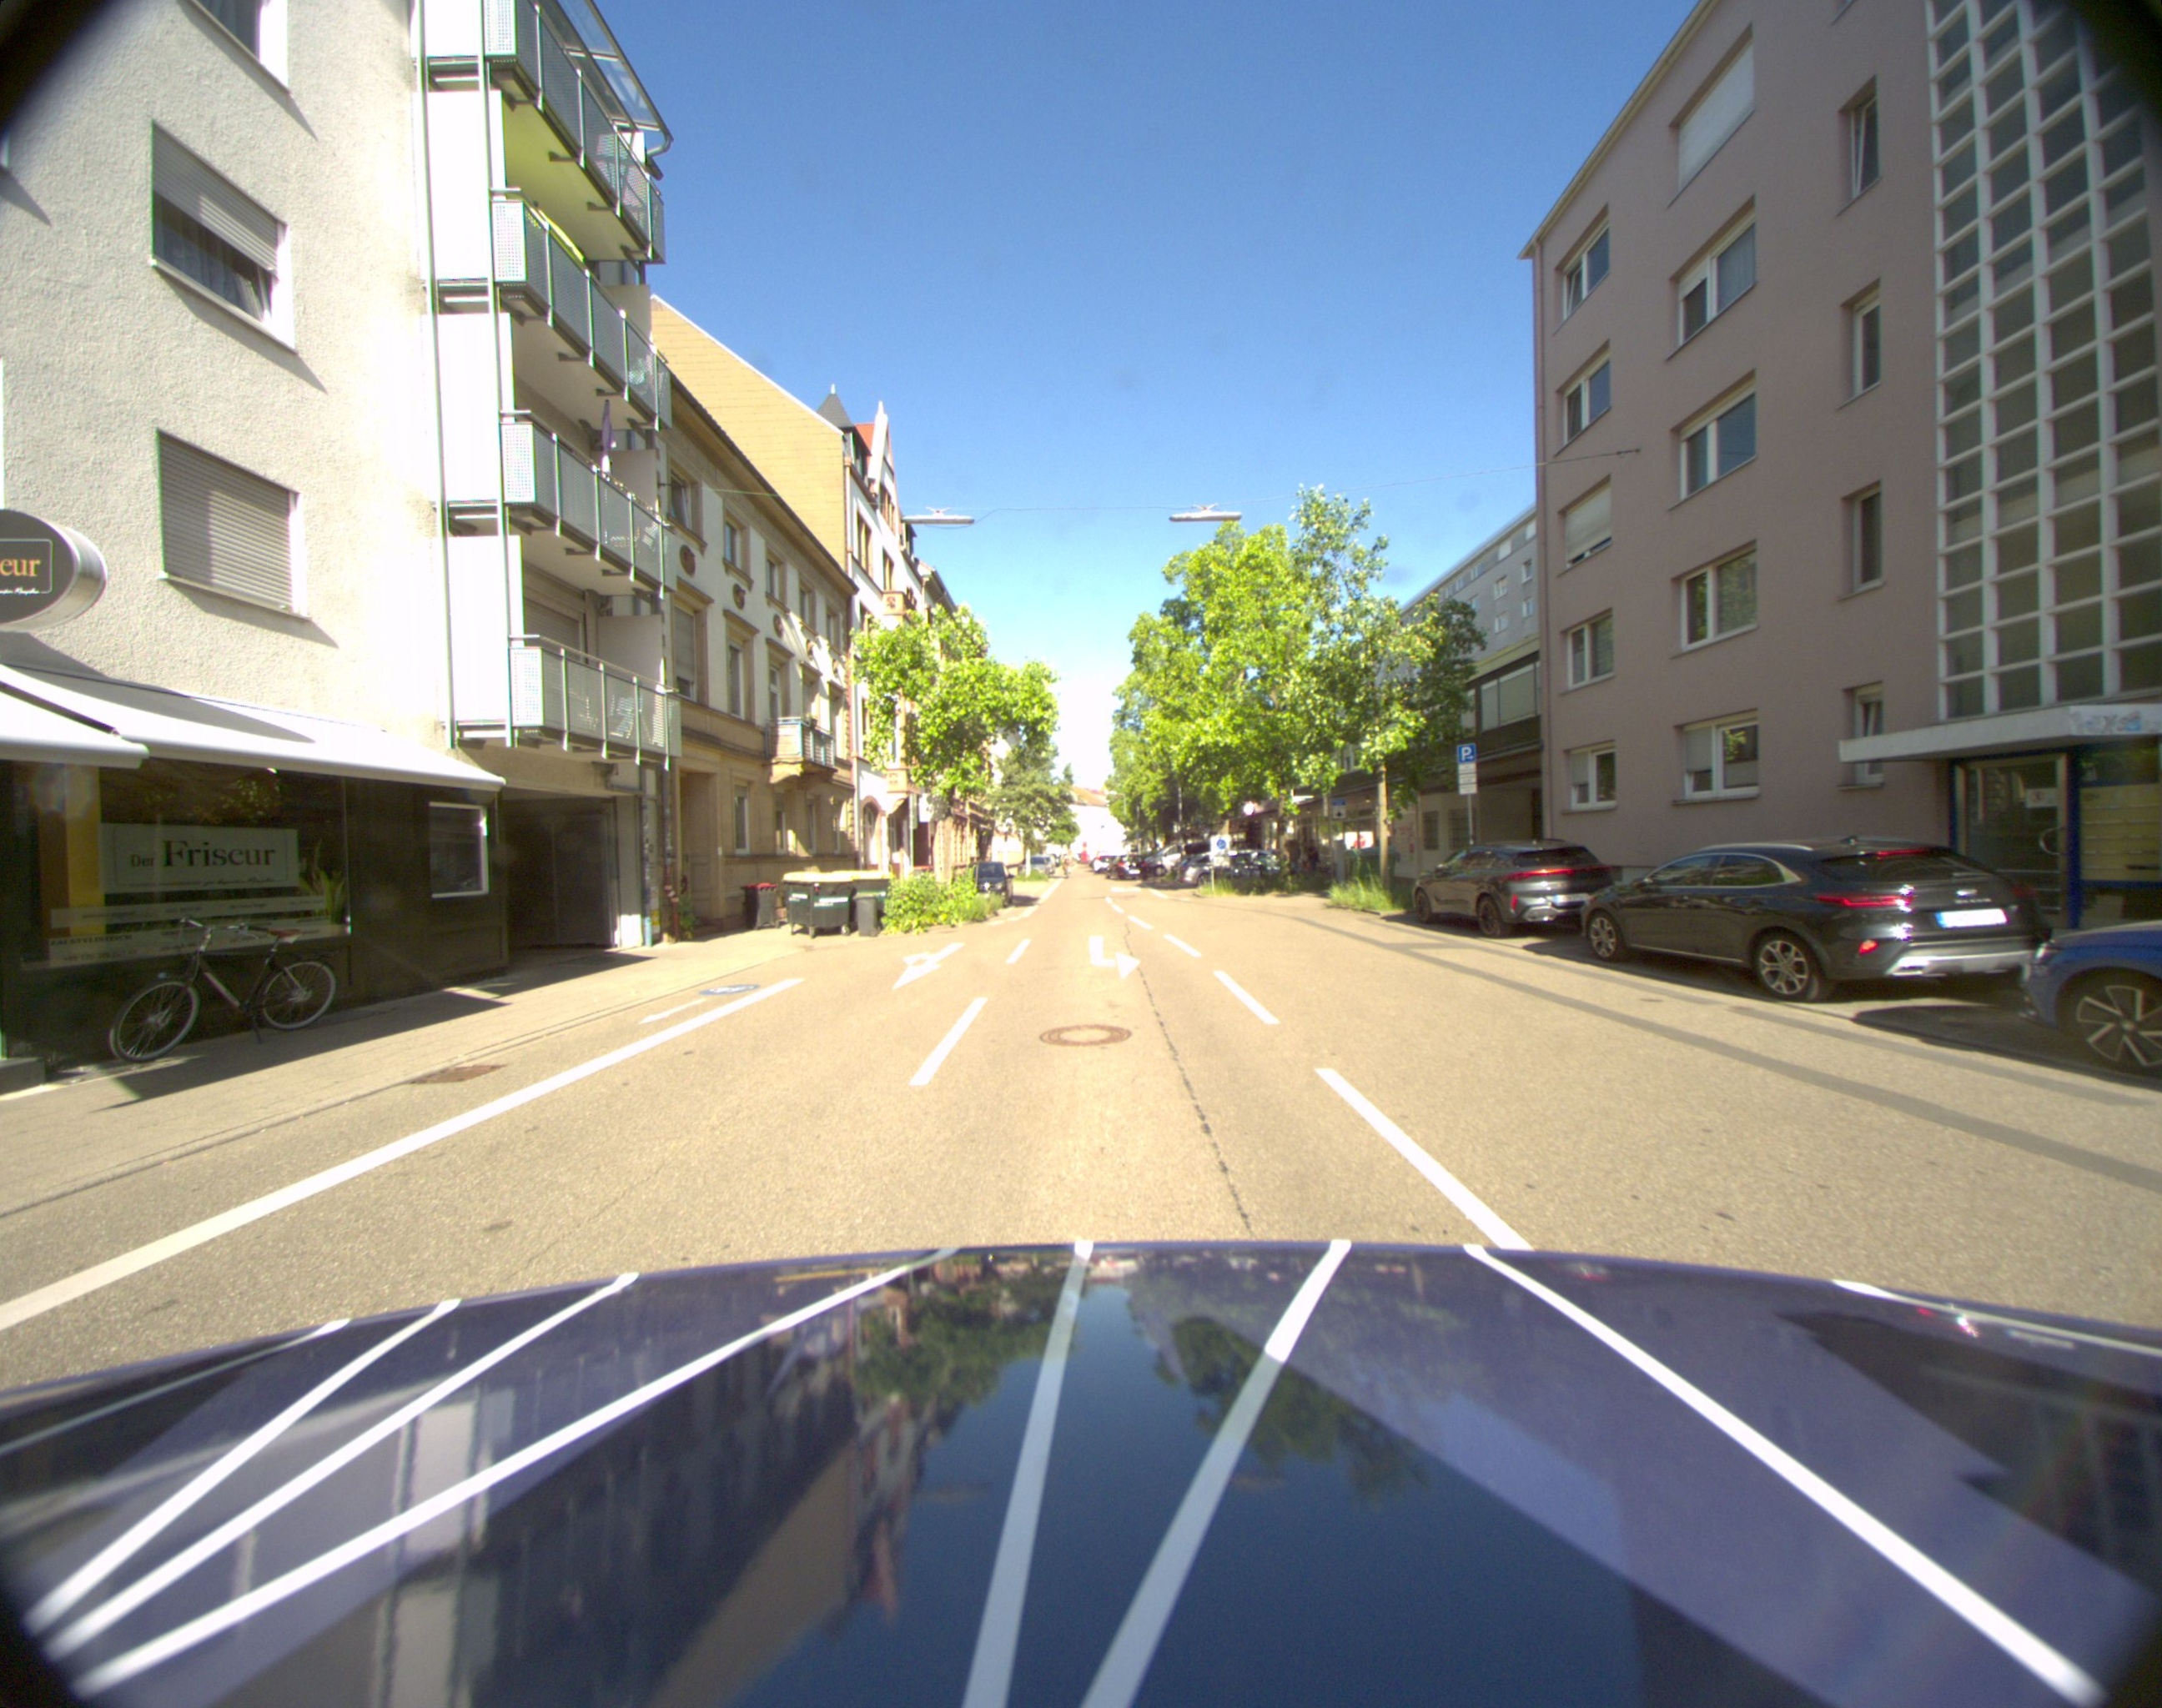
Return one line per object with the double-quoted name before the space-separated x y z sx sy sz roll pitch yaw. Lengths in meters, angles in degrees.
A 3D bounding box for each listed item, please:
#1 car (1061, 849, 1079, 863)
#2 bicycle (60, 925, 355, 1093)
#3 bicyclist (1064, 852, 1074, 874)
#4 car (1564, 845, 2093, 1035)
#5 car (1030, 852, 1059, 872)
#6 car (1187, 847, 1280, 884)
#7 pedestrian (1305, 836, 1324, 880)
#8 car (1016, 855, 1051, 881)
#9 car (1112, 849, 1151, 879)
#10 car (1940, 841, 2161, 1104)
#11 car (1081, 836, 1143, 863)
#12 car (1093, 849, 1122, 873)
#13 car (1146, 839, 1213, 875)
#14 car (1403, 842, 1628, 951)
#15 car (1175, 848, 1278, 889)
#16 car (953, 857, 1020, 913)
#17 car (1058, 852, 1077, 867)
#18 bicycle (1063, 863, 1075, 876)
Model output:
"car" -1.235 0.229 86.157 1.713 1.444 3.547 -2 0 2
"bicycle" -7.727 1.303 6.869 0.598 1.137 1.774 1 1 1
"bicyclist" -0.765 0.569 48.433 0.582 1.369 0.665 -2 1 5
"car" 7.440 0.694 8.306 1.727 1.459 4.158 -4 0 2
"car" -2.710 0.584 56.989 1.914 1.444 3.547 -2 0 1
"car" 7.021 0.527 35.322 3.996 1.543 1.913 -2 1 3
"pedestrian" 9.847 0.171 32.037 0.623 1.796 0.502 -2 1 2
"car" -2.897 0.818 46.917 1.914 1.444 3.546 -2 0 -1
"car" 2.767 0.533 42.643 1.911 1.543 4.000 -2 0 0
"car" 7.400 0.711 3.299 1.828 1.494 4.801 -4 0 -1
"car" 2.947 -0.434 72.591 5.566 2.379 1.975 -2 1 -19
"car" 1.863 0.477 53.947 1.911 1.543 4.000 -2 0 0
"car" 5.960 0.157 46.258 3.875 2.031 1.913 -2 1 3
"car" 7.538 0.640 13.711 1.727 1.567 4.158 -4 0 2
"car" 6.077 0.594 32.089 3.996 1.543 1.913 -2 1 3
"car" -2.997 0.945 24.698 1.627 1.587 3.546 -2 0 1
"car" -1.388 0.542 80.171 1.713 1.444 3.547 -2 0 2
"bicycle" -0.758 0.968 48.432 0.582 0.801 1.710 -2 0 6
